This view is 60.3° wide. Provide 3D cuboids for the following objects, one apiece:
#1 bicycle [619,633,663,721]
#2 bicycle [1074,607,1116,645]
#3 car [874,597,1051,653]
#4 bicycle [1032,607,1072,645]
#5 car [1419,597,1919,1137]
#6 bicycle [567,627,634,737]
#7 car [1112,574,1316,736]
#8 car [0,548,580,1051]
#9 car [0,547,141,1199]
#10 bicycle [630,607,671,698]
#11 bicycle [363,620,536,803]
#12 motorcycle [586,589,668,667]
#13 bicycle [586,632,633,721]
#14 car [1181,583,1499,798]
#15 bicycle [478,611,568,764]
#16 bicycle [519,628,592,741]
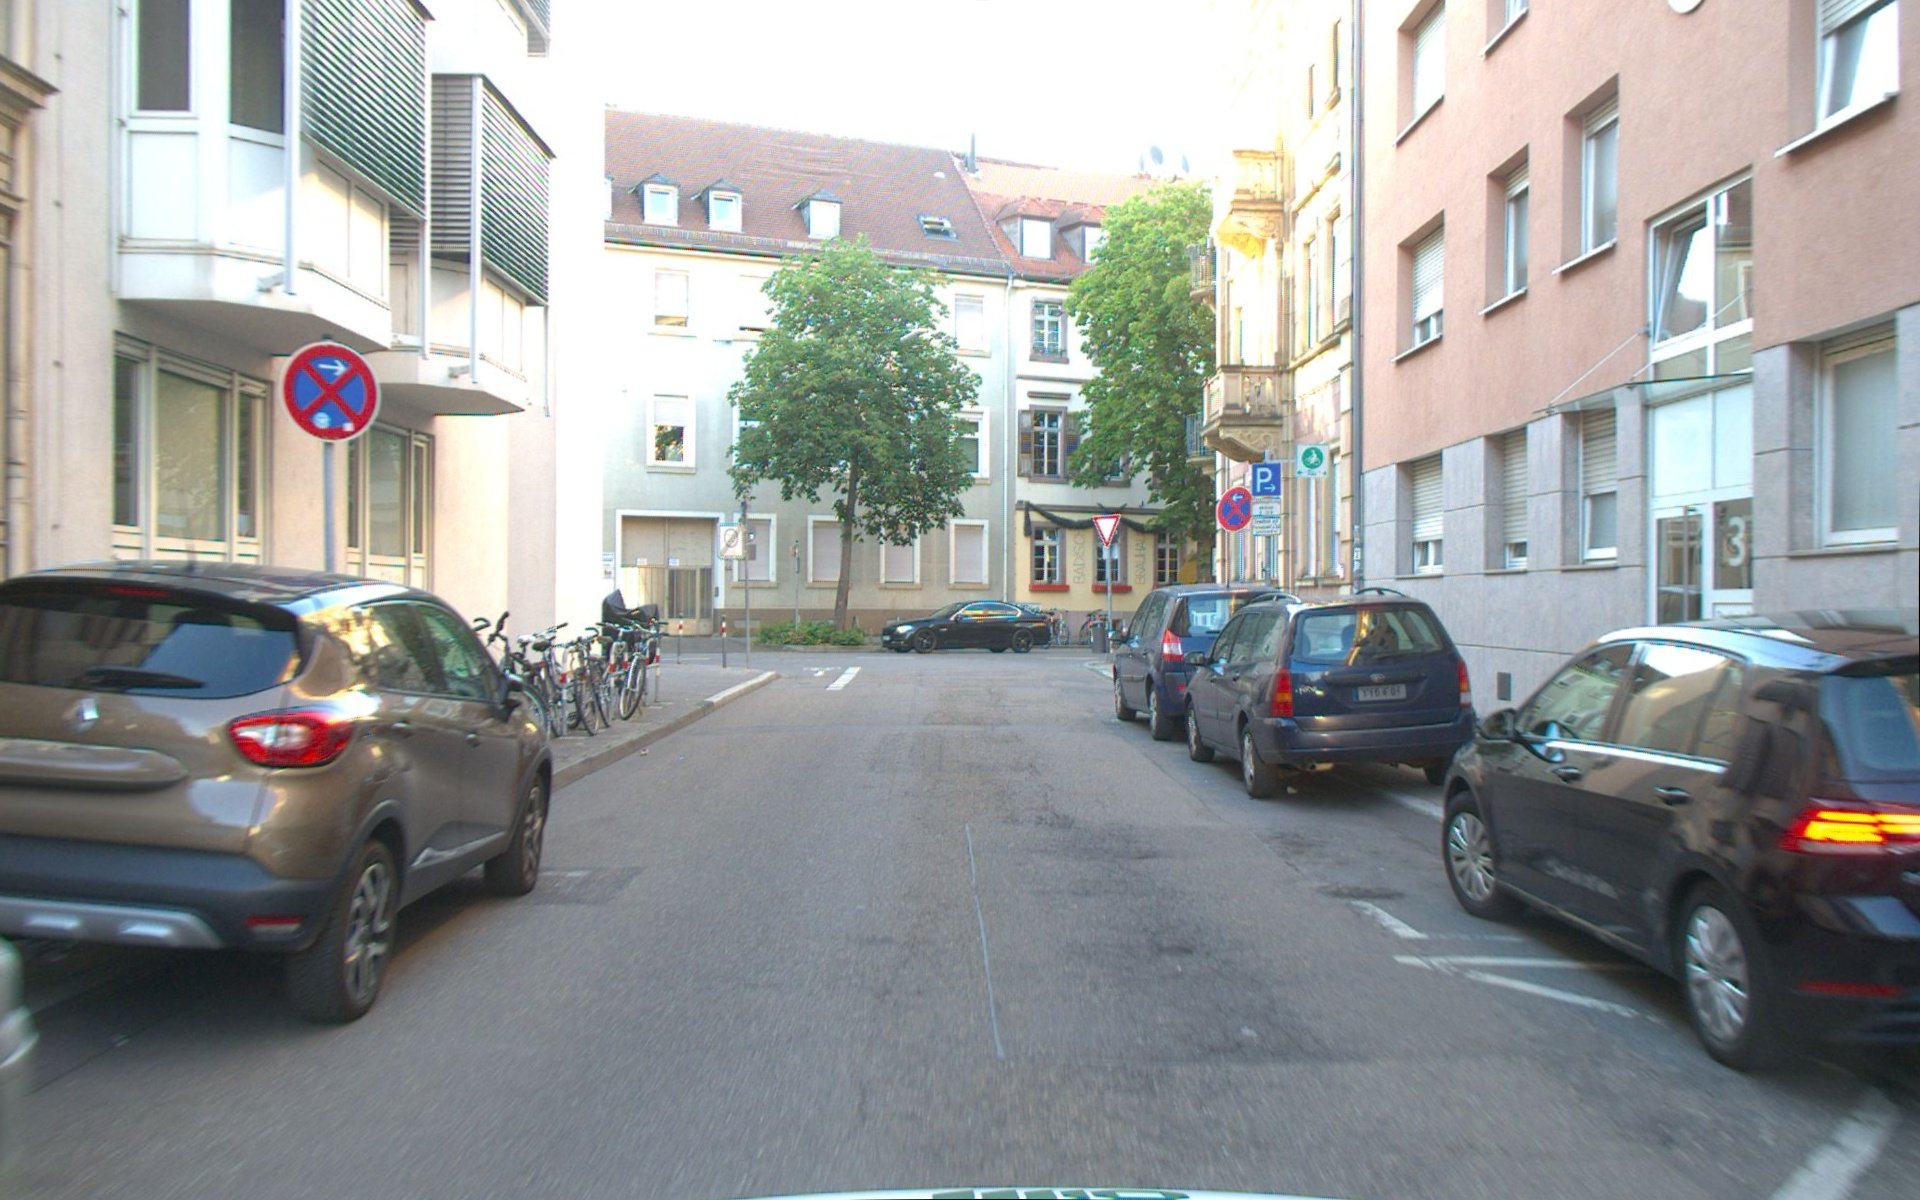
[{"bbox_3d":[-3.791,0.896,19.714,0.301,0.948,1.811,0,0,-4],"label":"bicycle"},{"bbox_3d":[4.221,0.794,51.982,0.414,1.165,2.027,0,0,-23],"label":"bicycle"},{"bbox_3d":[0.065,0.666,45.754,4.588,1.475,1.756,-1,0,-22],"label":"car"},{"bbox_3d":[2.902,0.808,52.458,0.414,1.165,2.027,0,0,-23],"label":"bicycle"},{"bbox_3d":[3.269,0.733,6.659,1.655,1.483,4.131,0,0,-1],"label":"car"},{"bbox_3d":[-3.784,0.838,17.496,0.300,1.060,1.813,0,0,0],"label":"bicycle"},{"bbox_3d":[2.782,0.554,18.907,1.655,1.653,4.054,0,0,-1],"label":"car"},{"bbox_3d":[-2.957,0.628,7.320,1.755,1.604,4.069,0,0,-2],"label":"car"},{"bbox_3d":[-2.676,0.688,1.553,1.755,1.566,4.432,0,0,-2],"label":"car"},{"bbox_3d":[-4.030,0.663,21.598,0.392,1.121,1.810,0,0,-7],"label":"bicycle"},{"bbox_3d":[-3.807,0.782,12.519,0.583,1.208,2.265,-1,0,0],"label":"bicycle"},{"bbox_3d":[-6.939,0.571,34.394,0.664,1.582,2.128,0,0,-43],"label":"motorcycle"},{"bbox_3d":[-4.071,0.869,19.278,0.301,0.948,1.811,0,0,-5],"label":"bicycle"},{"bbox_3d":[3.015,0.642,14.008,1.655,1.540,4.282,0,0,-1],"label":"car"},{"bbox_3d":[-3.824,0.726,14.579,0.300,1.244,1.813,0,0,0],"label":"bicycle"},{"bbox_3d":[-4.158,0.842,17.089,0.300,1.060,1.813,0,0,0],"label":"bicycle"}]
